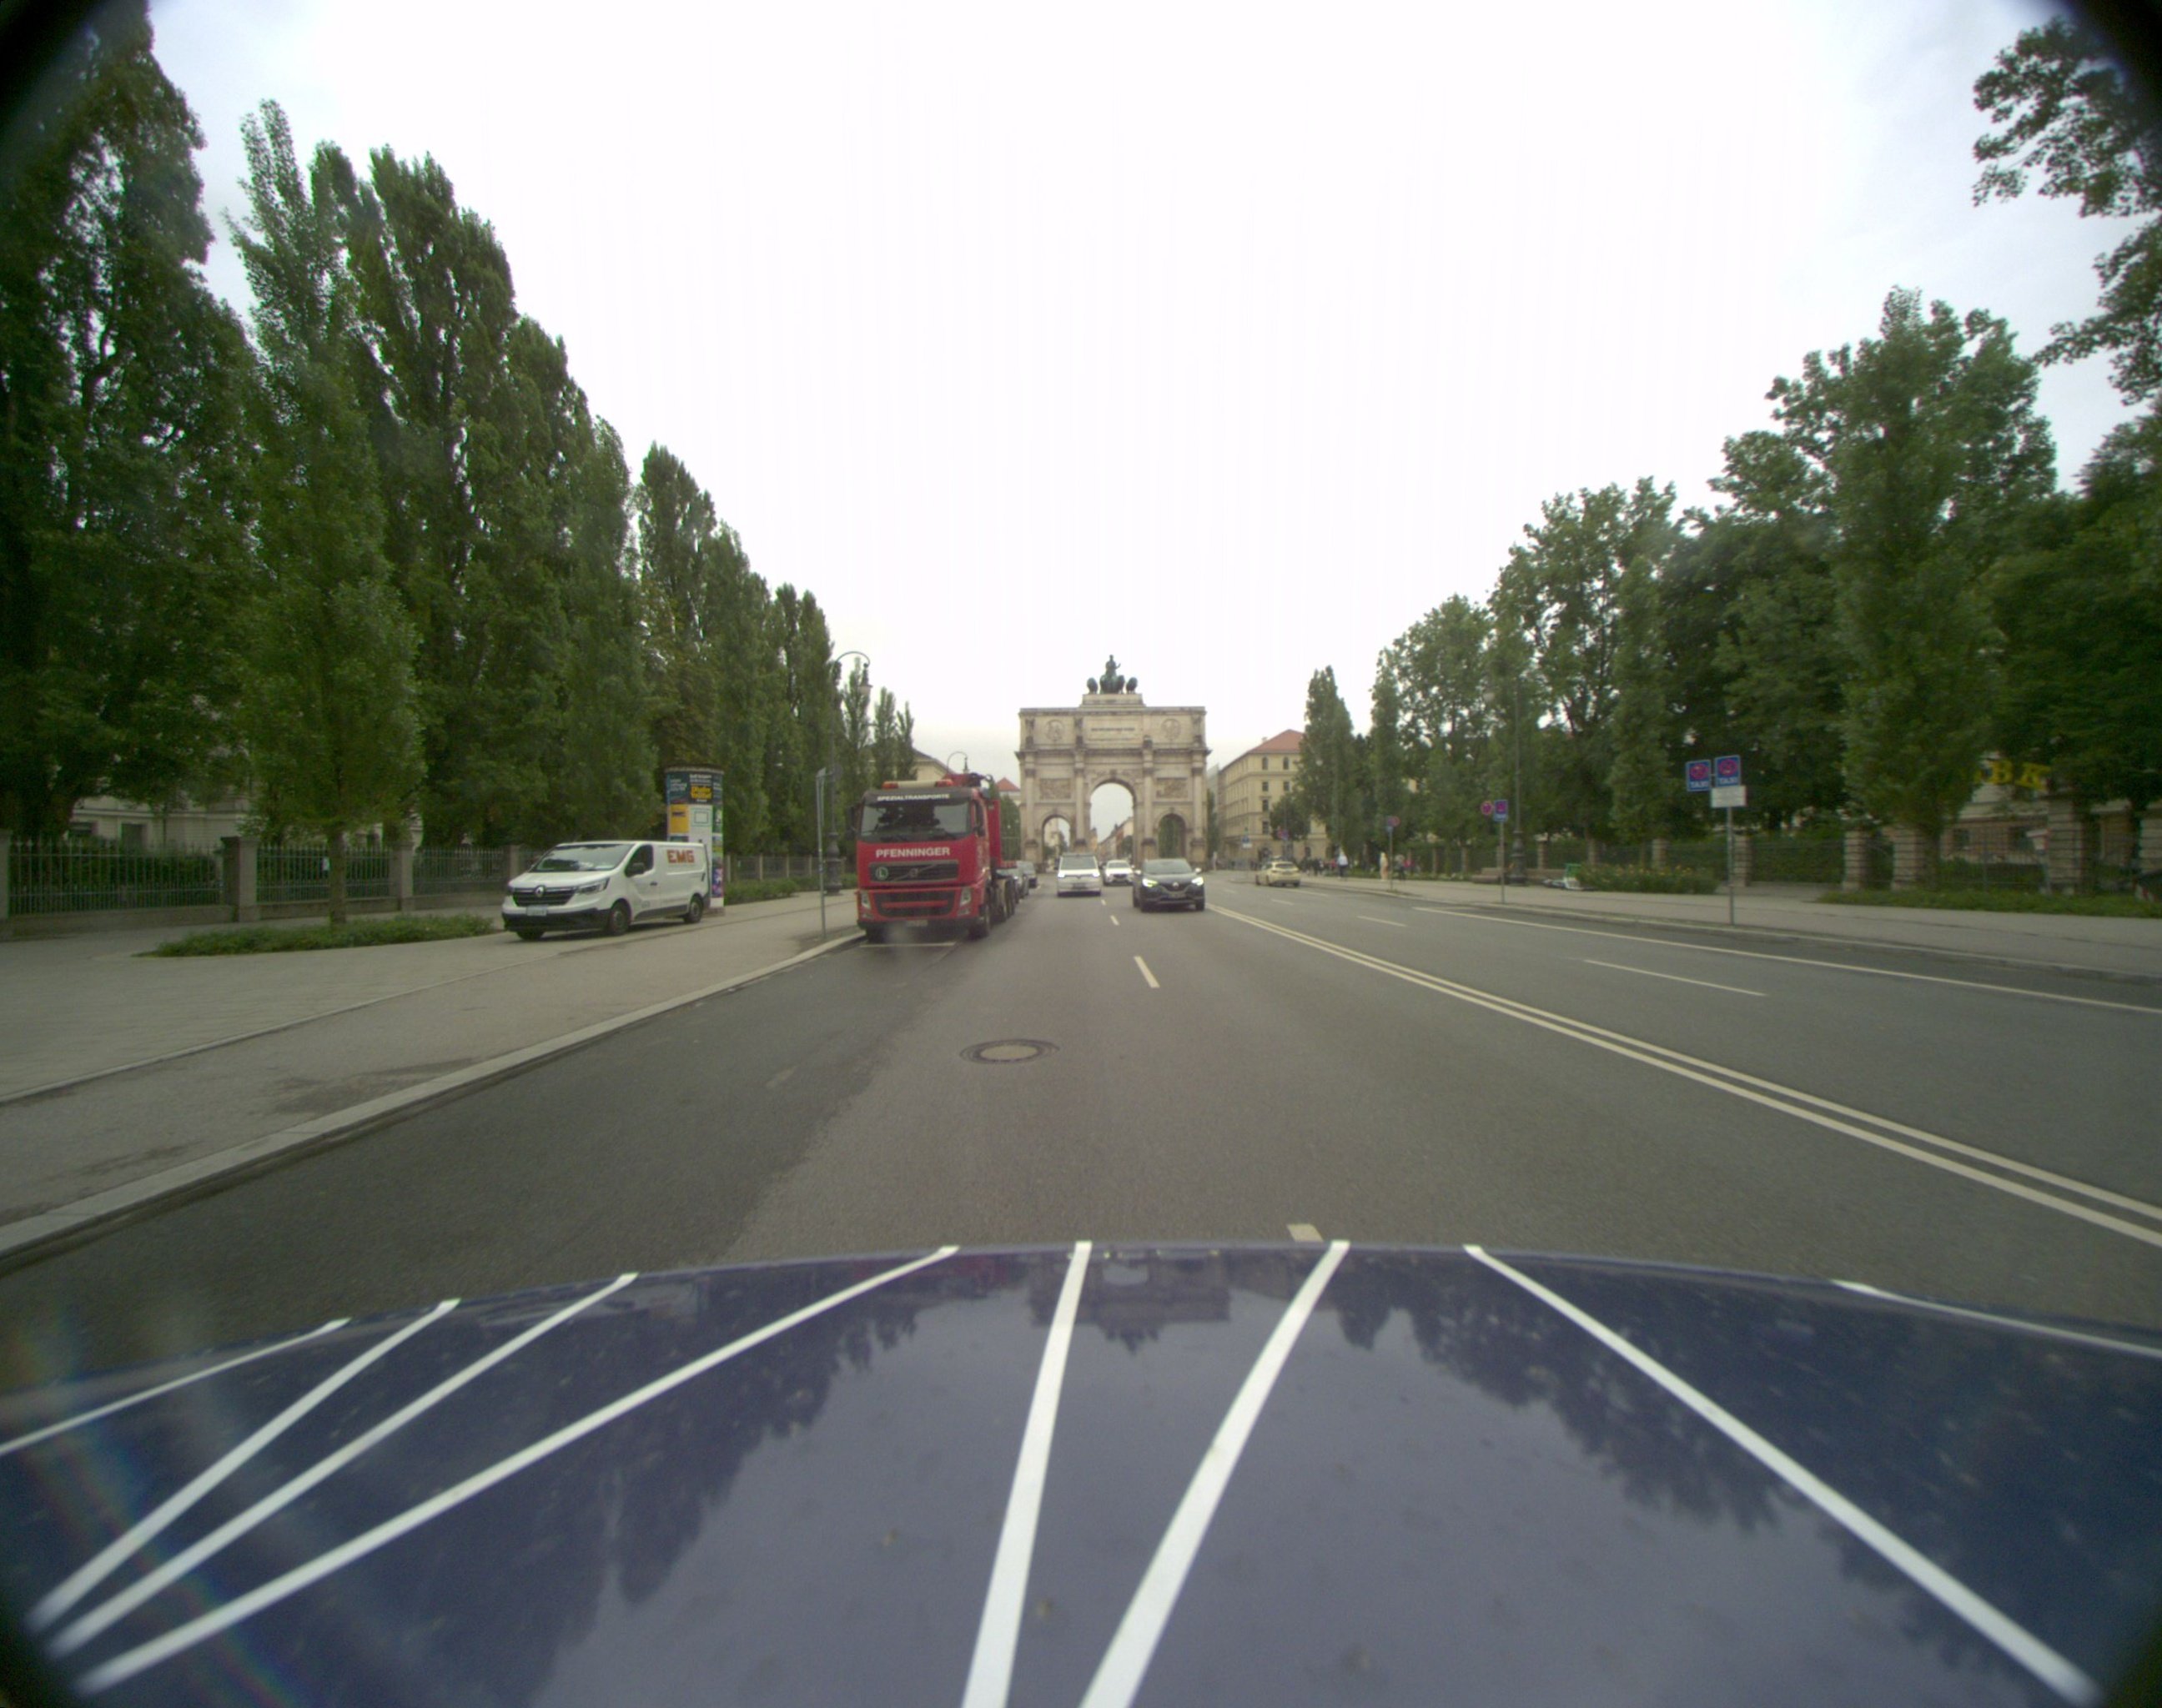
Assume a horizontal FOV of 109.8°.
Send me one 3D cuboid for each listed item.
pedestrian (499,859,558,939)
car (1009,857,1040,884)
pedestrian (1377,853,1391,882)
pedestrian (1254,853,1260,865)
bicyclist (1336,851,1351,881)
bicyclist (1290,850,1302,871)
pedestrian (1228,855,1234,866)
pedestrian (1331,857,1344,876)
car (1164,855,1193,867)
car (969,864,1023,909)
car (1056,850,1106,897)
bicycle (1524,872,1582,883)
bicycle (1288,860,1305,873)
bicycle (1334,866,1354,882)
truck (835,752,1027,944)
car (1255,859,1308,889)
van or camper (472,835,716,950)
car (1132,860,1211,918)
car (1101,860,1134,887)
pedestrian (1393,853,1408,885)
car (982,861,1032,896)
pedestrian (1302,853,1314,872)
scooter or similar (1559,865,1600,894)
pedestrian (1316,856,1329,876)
[{"bbox_3d":[-12.018,0.961,16.547,0.718,1.684,0.755,-1,0,0],"label":"pedestrian"},{"bbox_3d":[-3.477,0.978,46.871,1.847,1.597,4.367,-1,0,-4],"label":"car"},{"bbox_3d":[17.675,0.791,44.363,0.533,1.720,0.583,-1,0,-11],"label":"pedestrian"},{"bbox_3d":[27.652,0.803,119.350,0.880,1.812,0.686,-1,0,9],"label":"pedestrian"},{"bbox_3d":[16.041,0.738,46.401,0.591,1.812,0.661,-2,0,-2],"label":"bicyclist"},{"bbox_3d":[16.199,0.507,57.216,0.647,1.582,0.661,-2,0,-2],"label":"bicyclist"},{"bbox_3d":[24.759,1.053,125.361,1.032,1.812,0.882,-1,0,8],"label":"pedestrian"},{"bbox_3d":[25.971,1.244,76.896,0.990,1.860,1.031,-2,1,11],"label":"pedestrian"},{"bbox_3d":[14.688,1.002,114.491,2.004,1.739,3.989,-1,0,-40],"label":"car"},{"bbox_3d":[-3.027,1.128,27.688,1.565,1.460,3.653,-1,0,-1],"label":"car"},{"bbox_3d":[0.053,0.831,34.879,2.064,1.916,5.728,-2,0,1],"label":"car"},{"bbox_3d":[22.746,1.133,36.640,2.219,0.450,1.339,-1,-1,-22],"label":"bicycle"},{"bbox_3d":[16.218,0.917,57.192,0.674,0.947,1.914,-2,0,-1],"label":"bicycle"},{"bbox_3d":[16.052,1.222,46.405,0.470,0.947,1.914,-2,0,-1],"label":"bicycle"},{"bbox_3d":[-3.195,-0.079,19.472,2.852,3.543,10.278,-2,0,-1],"label":"truck"},{"bbox_3d":[11.631,1.142,44.429,1.797,1.330,4.465,-1,4,-2],"label":"car"},{"bbox_3d":[-9.966,0.703,16.189,2.009,2.002,4.986,-2,0,-1],"label":"van or camper"},{"bbox_3d":[2.664,1.000,23.322,1.840,1.576,4.185,-1,0,-1],"label":"car"},{"bbox_3d":[2.272,1.167,46.372,1.909,1.516,4.010,-1,0,4],"label":"car"},{"bbox_3d":[17.710,0.836,42.145,0.533,1.720,0.583,-1,0,-11],"label":"pedestrian"},{"bbox_3d":[-3.222,1.043,33.846,1.847,1.383,4.438,-1,0,-1],"label":"car"},{"bbox_3d":[21.953,0.809,73.357,0.958,1.708,1.032,-2,1,22],"label":"pedestrian"},{"bbox_3d":[21.134,1.074,32.244,0.747,1.171,1.416,1,0,-4],"label":"scooter or similar"},{"bbox_3d":[21.665,1.093,68.258,0.959,1.708,1.031,-2,1,13],"label":"pedestrian"}]
